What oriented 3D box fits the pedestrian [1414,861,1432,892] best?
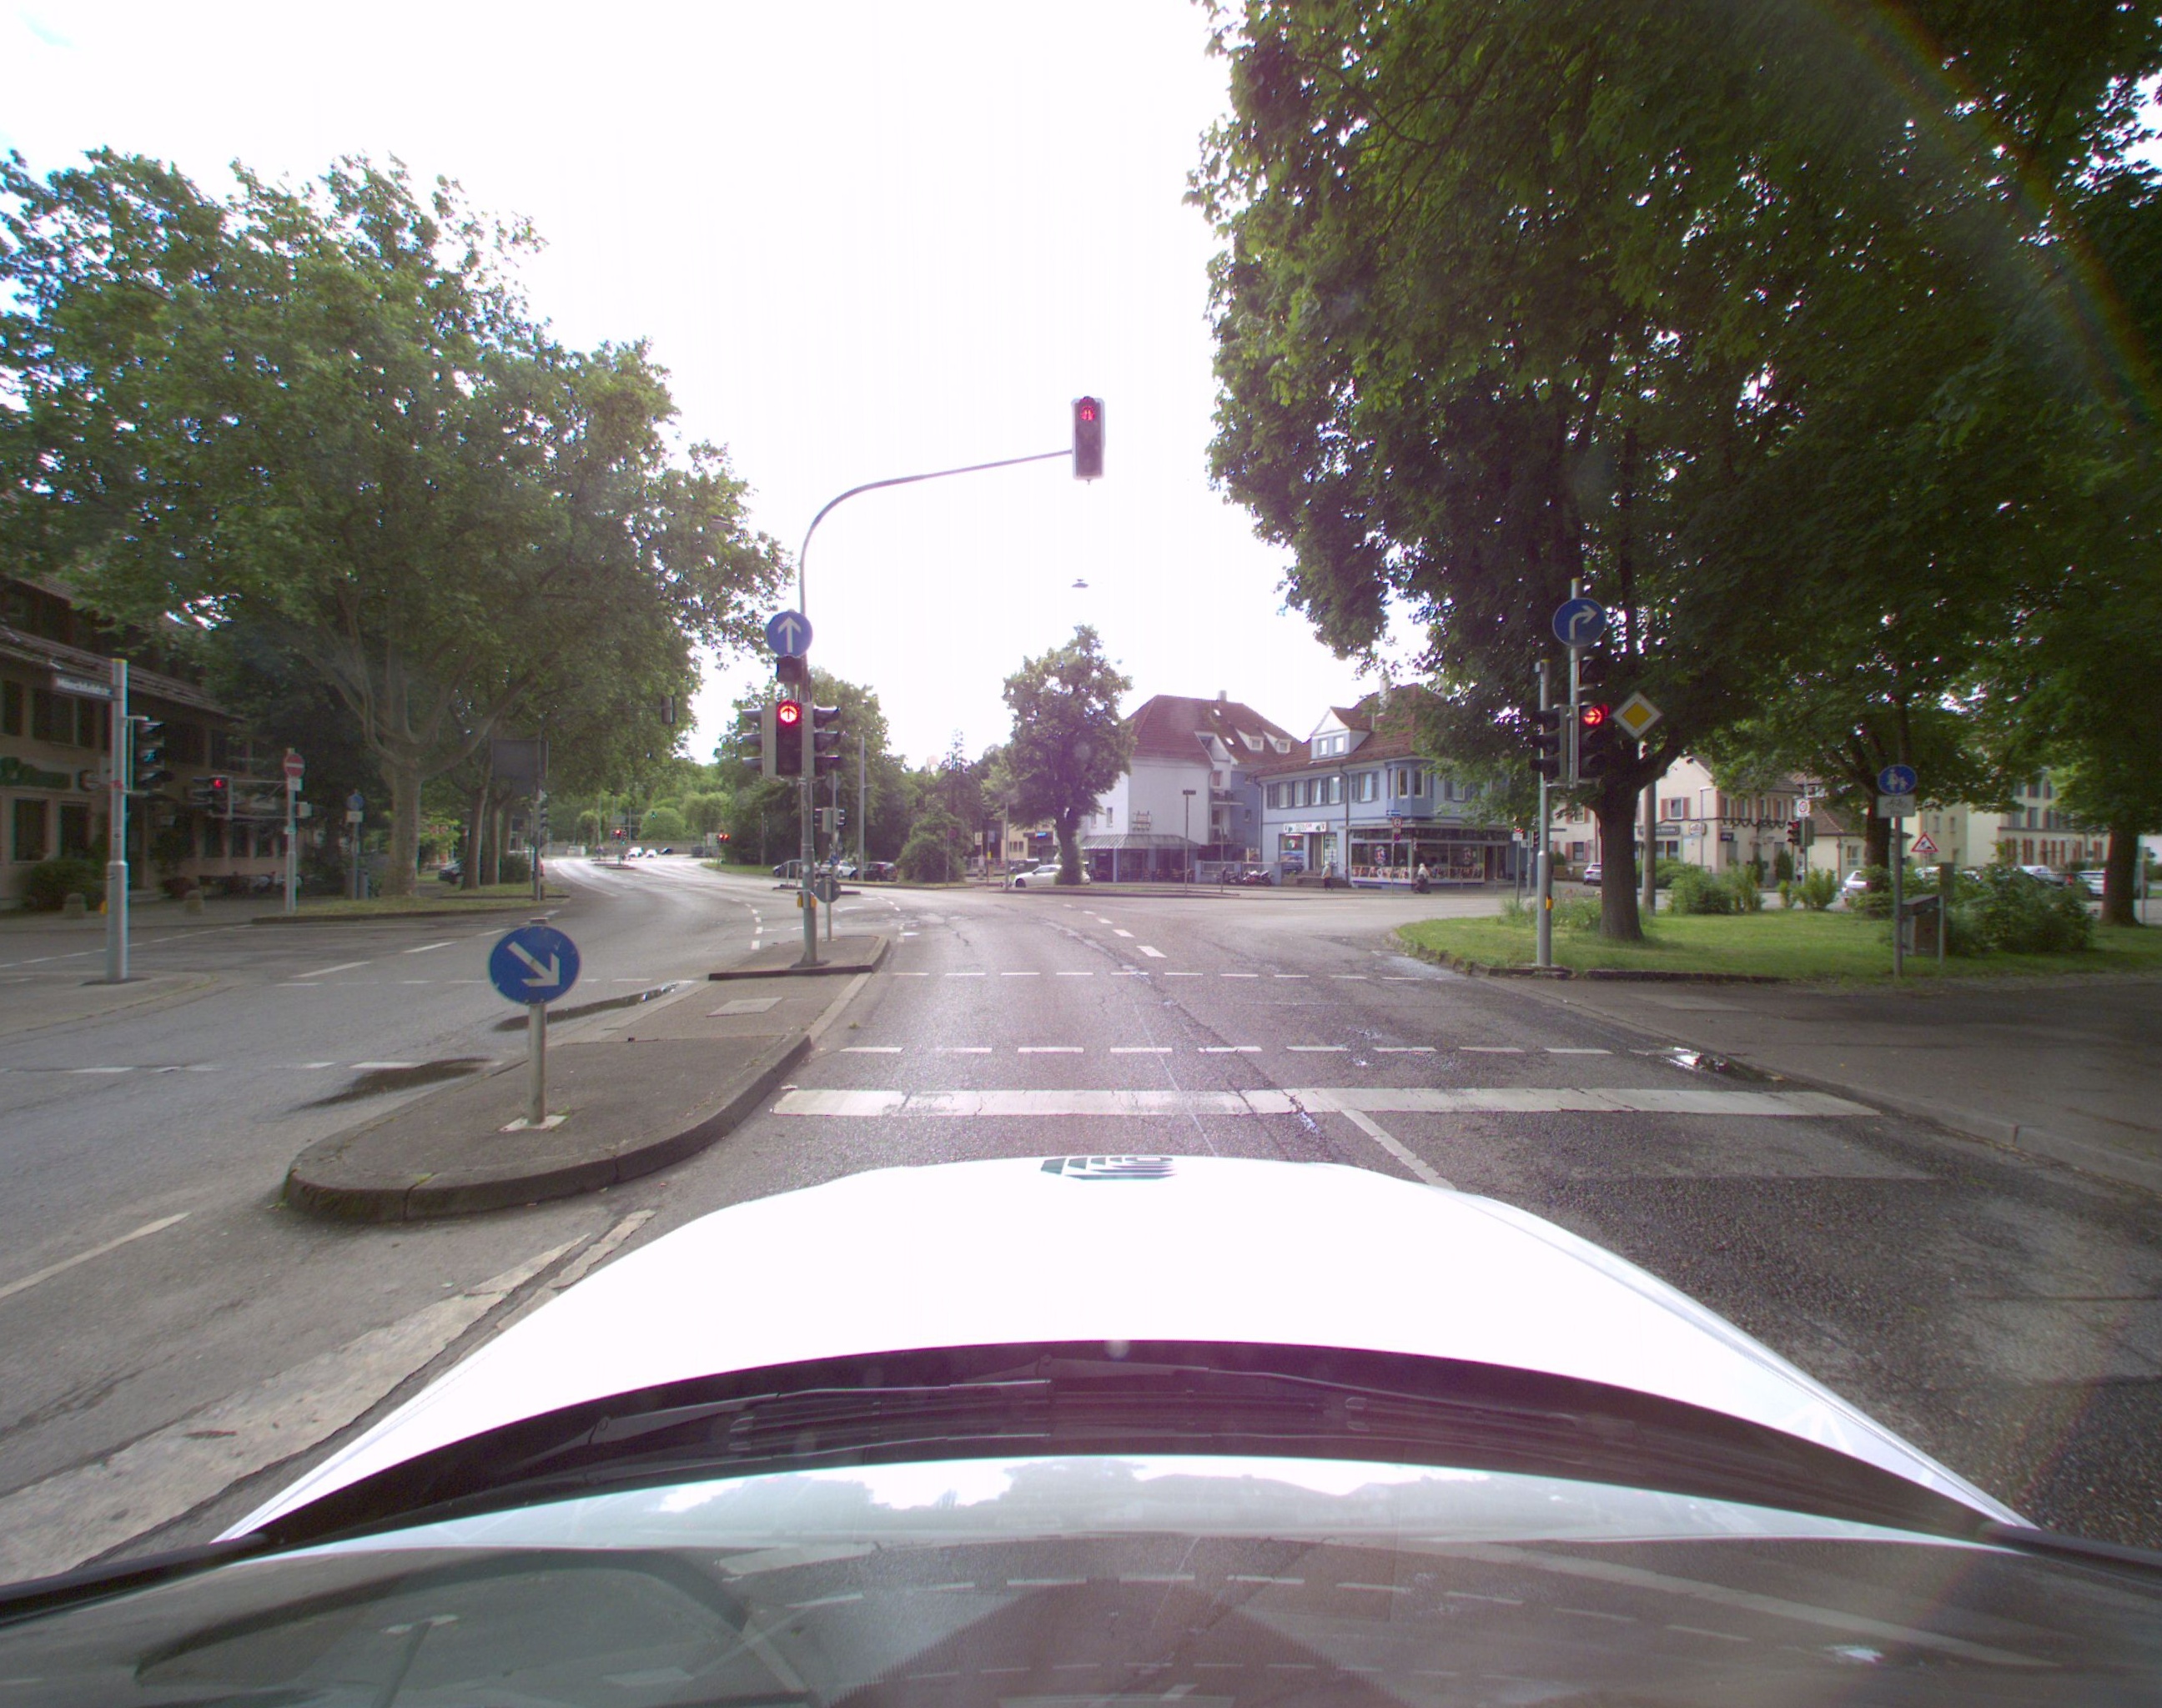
[{"bbox_3d":[17.190,1.126,40.939,0.687,1.560,0.671,-1,-1,33],"label":"pedestrian"}]

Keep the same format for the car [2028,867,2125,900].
[{"bbox_3d":[47.076,1.377,38.519,3.731,1.457,1.640,0,0,-17],"label":"car"}]

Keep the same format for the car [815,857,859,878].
[{"bbox_3d":[-20.139,1.092,67.410,1.848,1.640,3.768,0,0,13],"label":"car"}]

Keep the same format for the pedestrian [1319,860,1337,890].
[{"bbox_3d":[13.287,1.130,43.788,0.724,1.560,0.773,-1,-1,33],"label":"pedestrian"}]

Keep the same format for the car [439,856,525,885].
[{"bbox_3d":[-35.634,0.959,48.610,4.015,1.684,1.979,0,-1,-34],"label":"car"}]

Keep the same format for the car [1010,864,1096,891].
[{"bbox_3d":[-1.599,1.290,45.935,4.654,1.410,1.914,0,-1,37],"label":"car"}]

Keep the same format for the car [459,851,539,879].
[{"bbox_3d":[-36.464,0.684,51.179,4.015,1.684,1.979,0,-1,-34],"label":"car"}]

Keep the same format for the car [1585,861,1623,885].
[{"bbox_3d":[32.454,1.148,50.623,1.866,1.391,3.637,0,0,31],"label":"car"}]

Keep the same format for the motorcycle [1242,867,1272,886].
[{"bbox_3d":[10.424,1.324,48.247,1.609,1.088,0.631,-1,-1,34],"label":"motorcycle"}]

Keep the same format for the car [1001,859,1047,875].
[{"bbox_3d":[-5.324,1.243,75.920,3.948,1.442,1.742,0,-1,-18],"label":"car"}]

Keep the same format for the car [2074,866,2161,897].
[{"bbox_3d":[52.592,1.377,41.257,3.731,1.457,1.640,0,0,-17],"label":"car"}]

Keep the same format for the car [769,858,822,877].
[{"bbox_3d":[-22.594,1.033,64.519,3.742,1.465,1.629,0,0,20],"label":"car"}]

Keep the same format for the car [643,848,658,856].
[{"bbox_3d":[-83.171,-0.435,157.367,2.988,1.417,1.509,-1,-2,42],"label":"car"}]

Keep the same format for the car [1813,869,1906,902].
[{"bbox_3d":[31.819,1.277,33.307,3.007,1.267,1.455,0,-1,-17],"label":"car"}]

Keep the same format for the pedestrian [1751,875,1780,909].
[{"bbox_3d":[22.690,1.251,26.987,0.505,1.081,0.514,0,-1,-13],"label":"pedestrian"}]

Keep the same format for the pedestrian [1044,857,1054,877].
[{"bbox_3d":[-3.216,1.307,81.005,0.838,2.014,1.051,0,-1,-12],"label":"pedestrian"}]

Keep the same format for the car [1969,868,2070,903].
[{"bbox_3d":[42.341,1.385,36.756,3.731,1.457,1.640,0,0,-17],"label":"car"}]

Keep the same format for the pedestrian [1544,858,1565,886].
[{"bbox_3d":[26.396,0.992,45.444,0.671,1.560,0.743,0,-1,-13],"label":"pedestrian"}]

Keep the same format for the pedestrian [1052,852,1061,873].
[{"bbox_3d":[-1.775,0.621,59.412,0.538,1.560,0.470,-1,-1,15],"label":"pedestrian"}]

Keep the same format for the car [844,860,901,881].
[{"bbox_3d":[-13.831,1.060,54.004,3.285,1.352,1.791,0,0,29],"label":"car"}]

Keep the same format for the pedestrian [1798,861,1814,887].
[{"bbox_3d":[44.068,1.212,49.469,0.504,1.560,0.507,0,-1,-13],"label":"pedestrian"}]

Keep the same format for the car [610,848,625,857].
[{"bbox_3d":[-87.036,-0.302,152.956,3.293,1.486,1.594,-1,-2,43],"label":"car"}]

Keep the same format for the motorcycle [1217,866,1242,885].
[{"bbox_3d":[9.130,1.314,50.050,1.441,1.088,0.527,-1,-1,37],"label":"motorcycle"}]

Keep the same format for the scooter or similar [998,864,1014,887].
[{"bbox_3d":[-3.957,1.143,42.848,0.439,1.175,1.442,-1,-1,11],"label":"scooter or similar"}]
